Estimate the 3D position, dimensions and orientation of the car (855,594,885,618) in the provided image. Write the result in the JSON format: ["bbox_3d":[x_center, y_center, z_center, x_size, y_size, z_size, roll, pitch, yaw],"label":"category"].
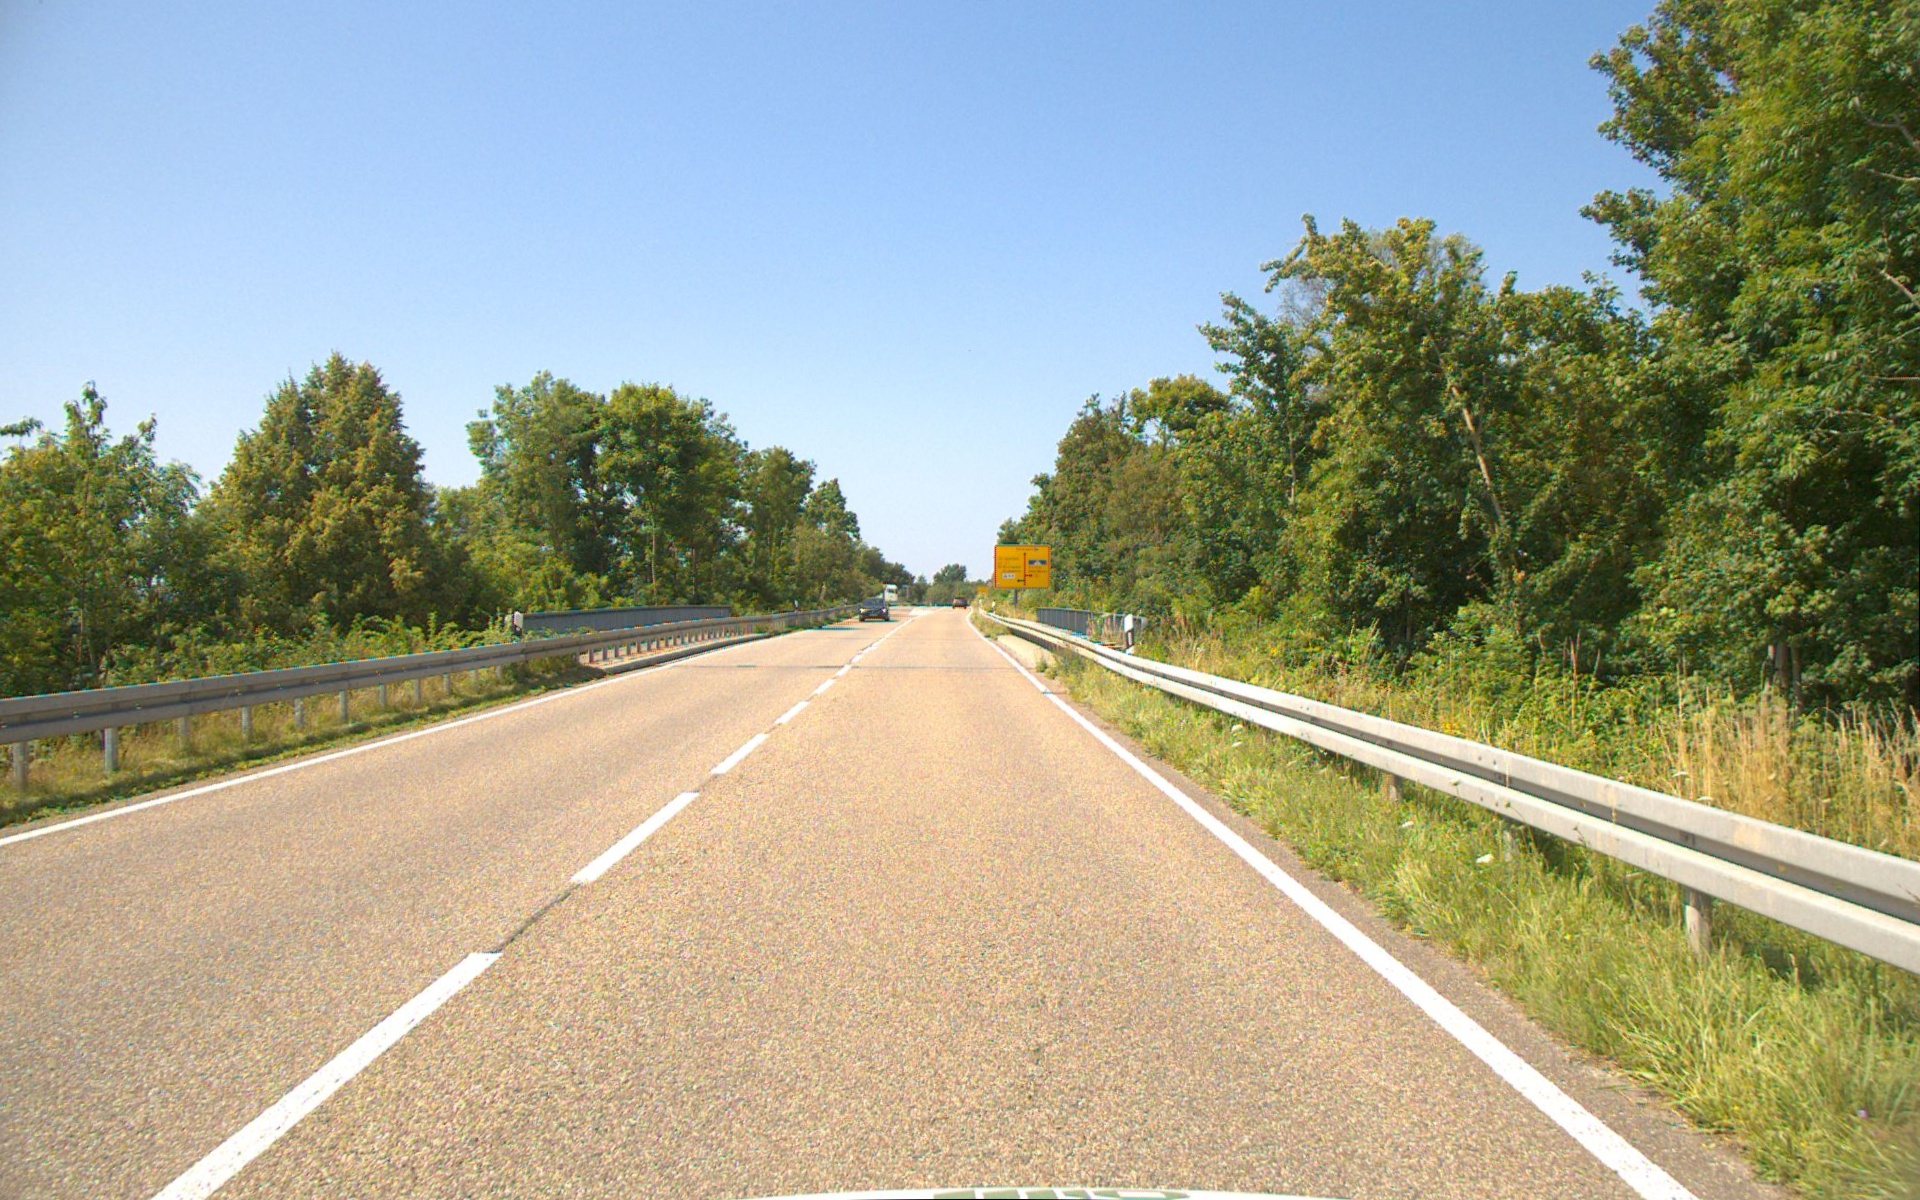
[{"bbox_3d":[-5.665,0.370,104.772,1.710,1.450,4.676,0,0,-1],"label":"car"}]

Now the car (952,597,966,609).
[{"bbox_3d":[-0.080,0.379,206.114,1.705,1.496,3.692,1,0,0],"label":"car"}]
